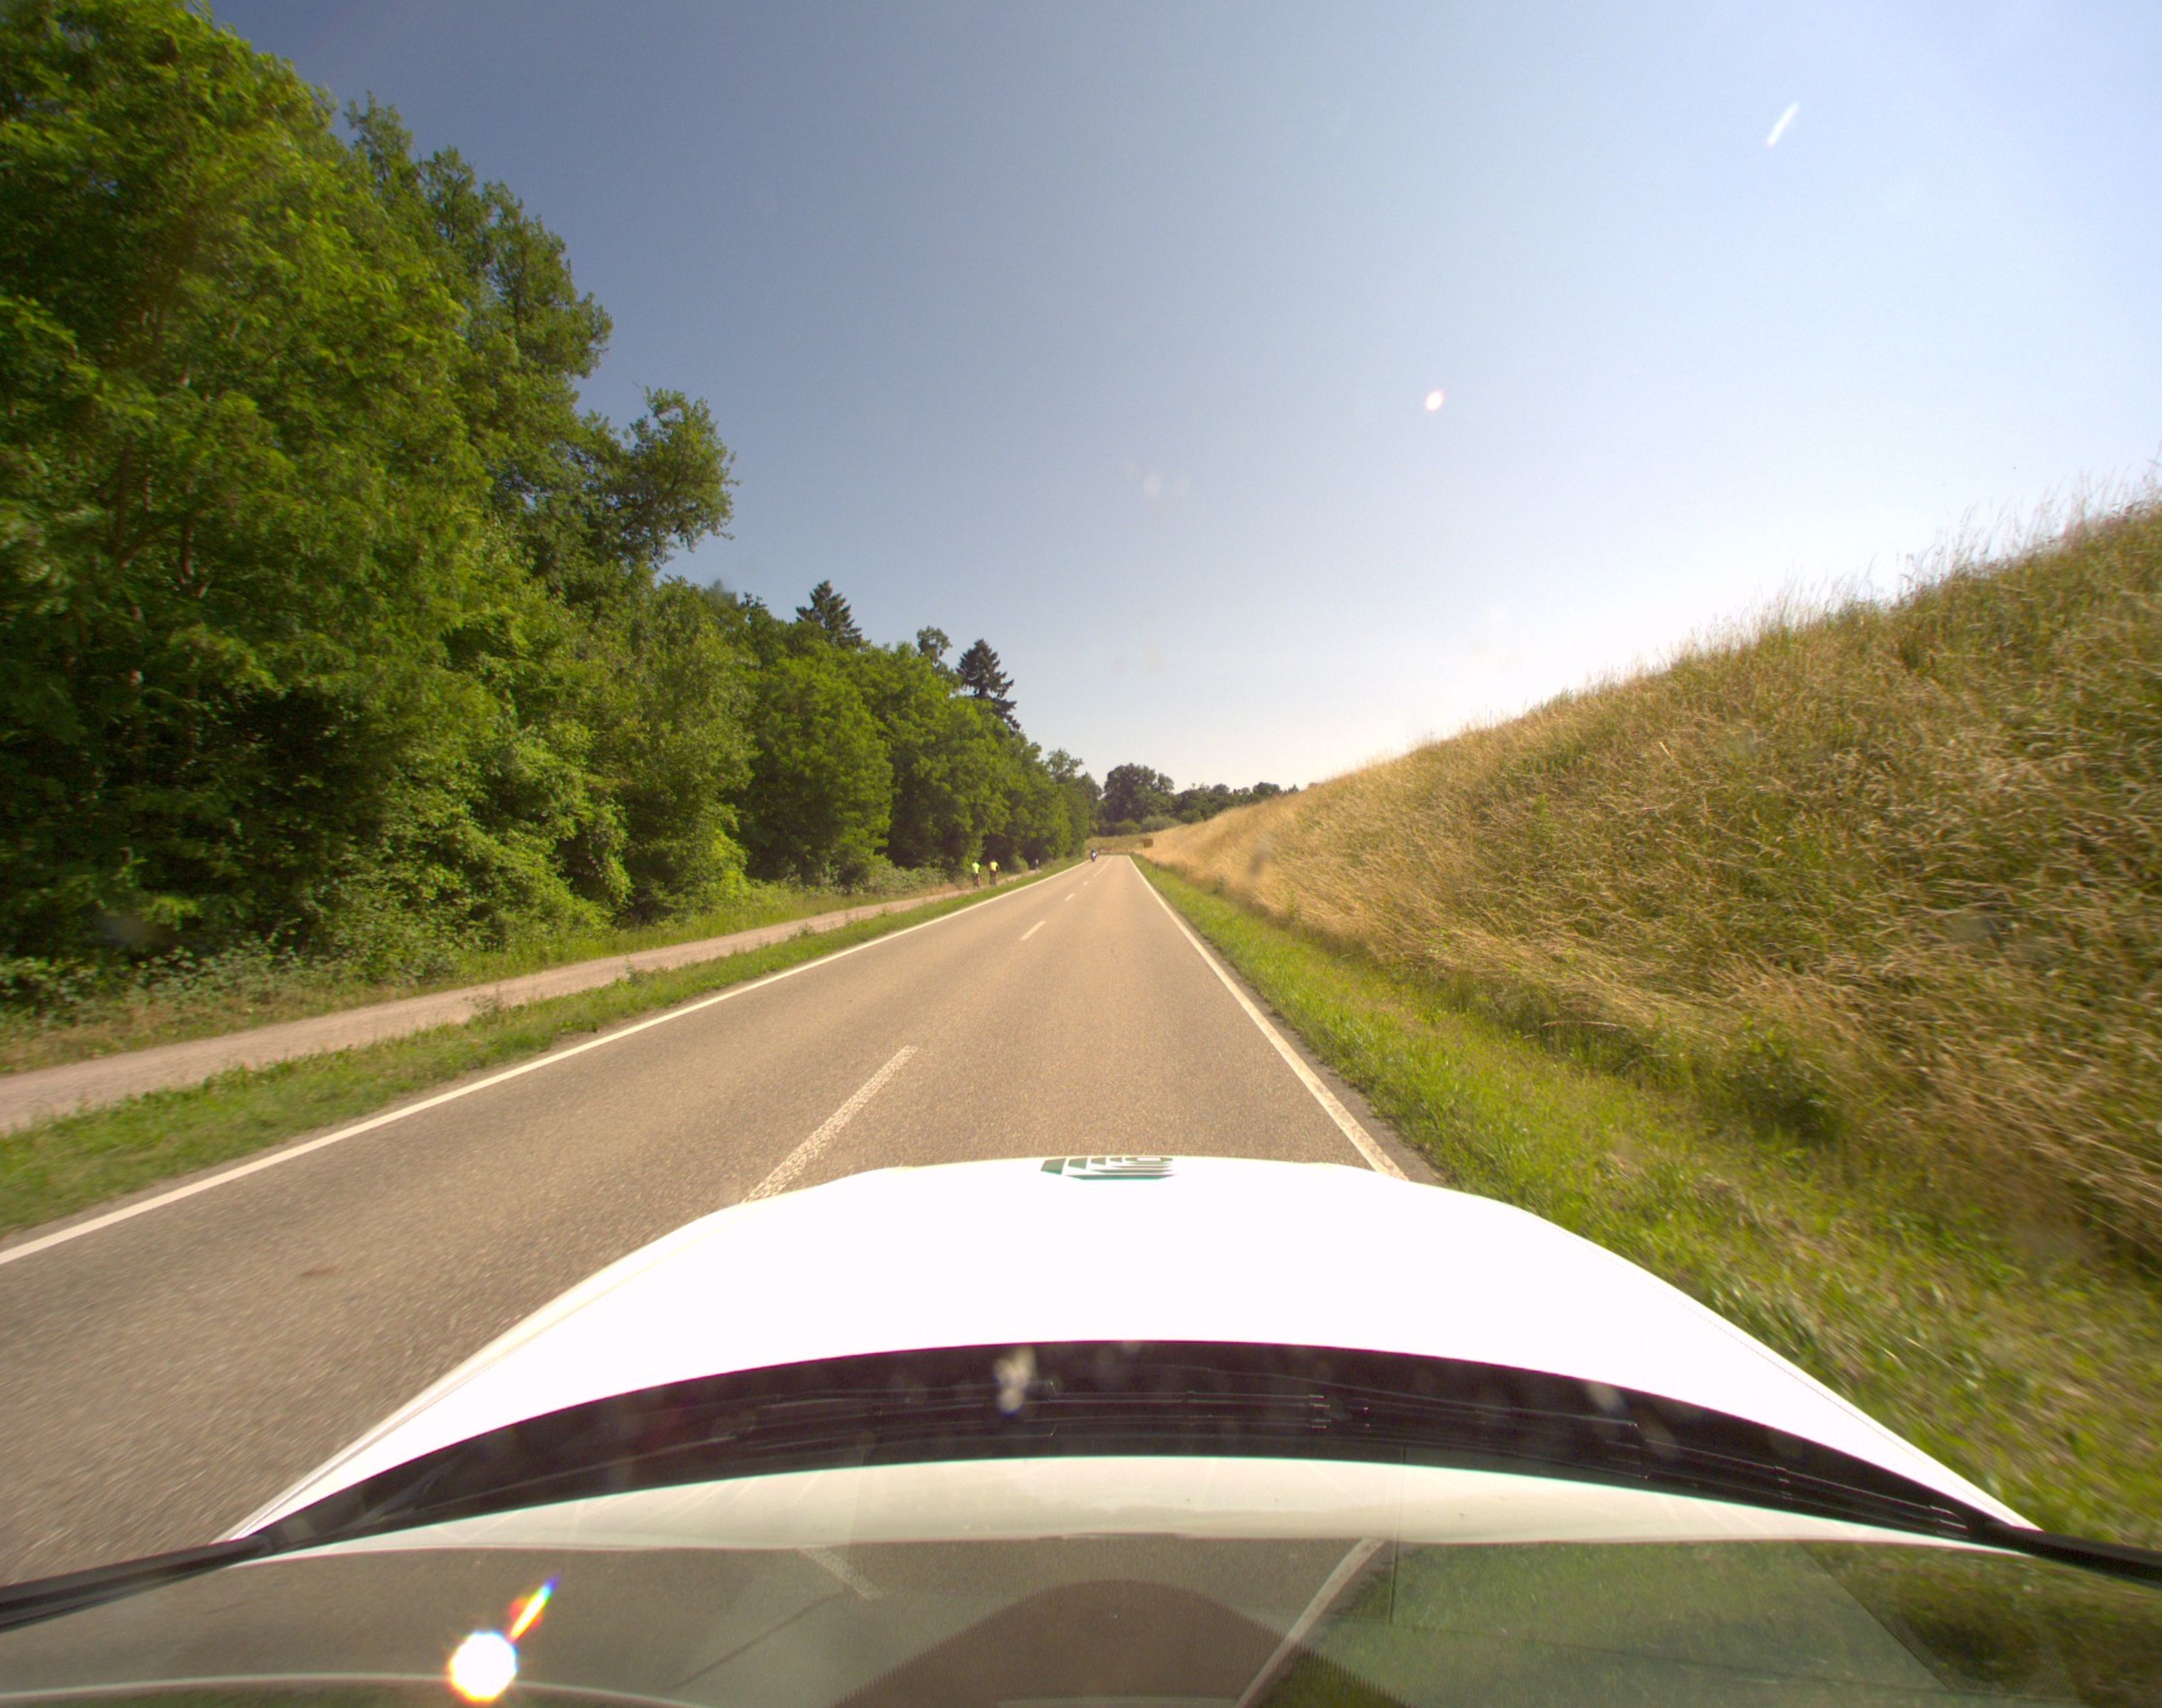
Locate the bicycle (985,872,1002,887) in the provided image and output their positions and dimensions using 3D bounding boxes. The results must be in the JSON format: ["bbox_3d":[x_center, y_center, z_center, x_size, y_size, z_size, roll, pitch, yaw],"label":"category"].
[{"bbox_3d":[-5.236,1.498,48.837,0.637,0.788,2.138,-3,0,3],"label":"bicycle"}]

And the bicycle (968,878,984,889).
[{"bbox_3d":[-6.328,1.769,49.238,0.616,0.681,2.138,0,-2,3],"label":"bicycle"}]

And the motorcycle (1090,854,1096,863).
[{"bbox_3d":[1.404,0.538,97.758,0.636,0.984,2.007,-3,0,2],"label":"motorcycle"}]

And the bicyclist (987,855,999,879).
[{"bbox_3d":[-5.278,0.775,48.848,0.602,1.415,0.703,-2,0,2],"label":"bicyclist"}]

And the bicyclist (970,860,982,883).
[{"bbox_3d":[-6.321,1.052,49.214,0.602,1.415,0.703,0,-2,2],"label":"bicyclist"}]

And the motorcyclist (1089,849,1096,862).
[{"bbox_3d":[1.398,0.140,97.798,0.657,1.528,0.814,-4,-1,1],"label":"motorcyclist"}]
